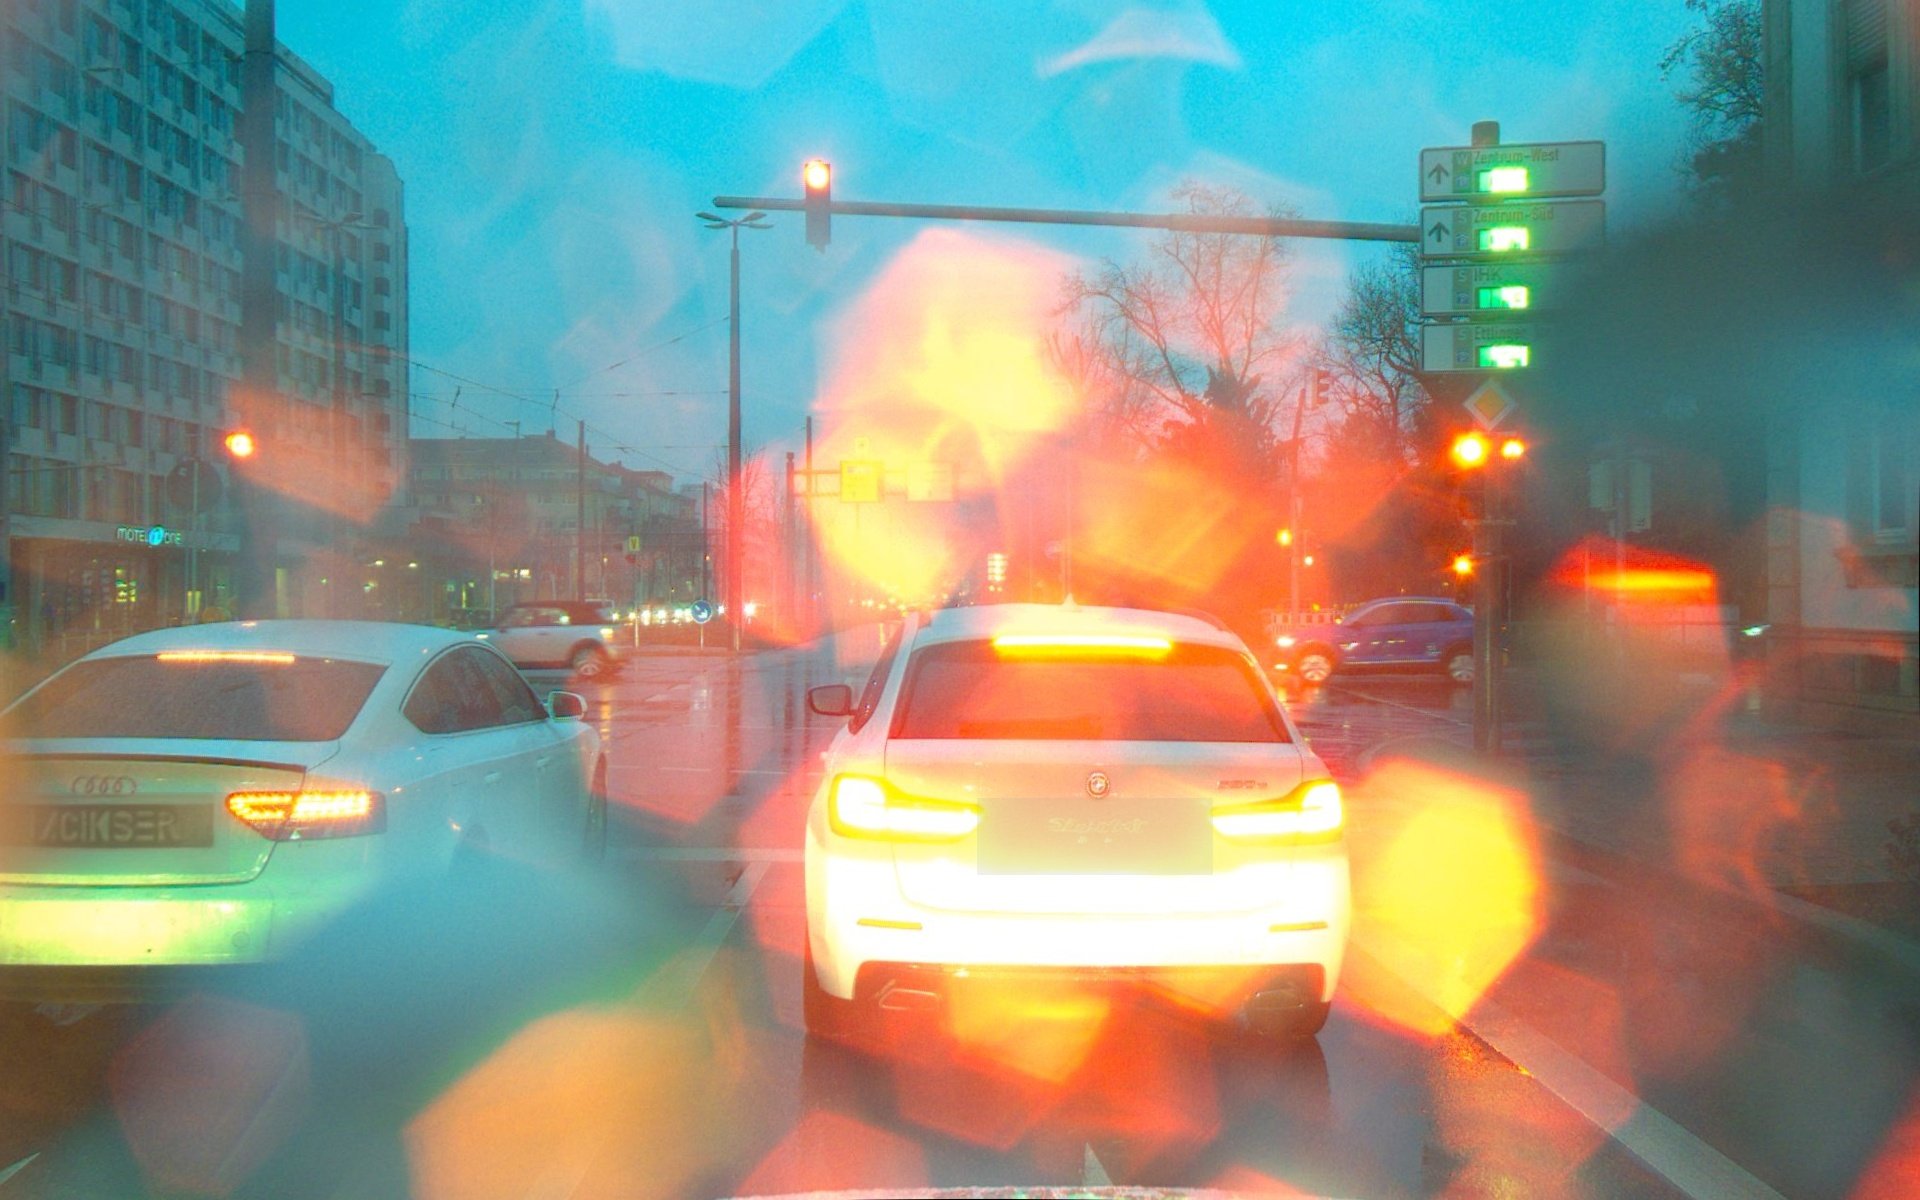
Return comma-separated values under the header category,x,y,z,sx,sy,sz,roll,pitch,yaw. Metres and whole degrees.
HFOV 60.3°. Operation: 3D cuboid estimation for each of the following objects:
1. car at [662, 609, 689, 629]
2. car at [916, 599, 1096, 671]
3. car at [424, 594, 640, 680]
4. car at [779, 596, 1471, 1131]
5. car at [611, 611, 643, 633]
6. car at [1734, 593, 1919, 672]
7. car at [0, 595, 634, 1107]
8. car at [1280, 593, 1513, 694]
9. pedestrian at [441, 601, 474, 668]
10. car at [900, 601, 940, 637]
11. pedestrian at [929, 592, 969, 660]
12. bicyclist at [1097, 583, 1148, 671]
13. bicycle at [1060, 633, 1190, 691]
category,x,y,z,sx,sy,sz,roll,pitch,yaw
car,-23.145,1.552,134.703,1.641,1.534,3.695,1,-1,-1
car,1.087,0.807,39.319,3.880,1.581,1.746,1,-1,29
car,-8.075,0.694,31.377,3.611,1.504,1.629,1,-1,2
car,0.377,0.738,6.845,1.954,1.481,4.366,0,0,-3
car,-24.224,1.589,120.444,1.641,1.534,3.695,1,-1,-1
car,17.151,0.625,31.934,3.907,1.426,1.757,1,-1,24
car,-2.705,0.729,7.016,1.954,1.481,4.366,0,0,-3
car,7.755,0.766,29.679,3.902,1.651,1.721,1,-1,11
pedestrian,-13.419,0.921,44.162,0.777,1.741,0.809,2,-1,-16
car,-1.905,0.899,78.237,1.806,1.637,3.943,1,-1,-2
pedestrian,-0.309,0.723,46.687,0.884,1.888,0.812,1,-1,20
bicyclist,3.407,0.558,34.645,0.951,1.789,0.814,1,-1,12
bicycle,3.467,1.283,34.605,2.610,1.108,0.815,1,-1,12
